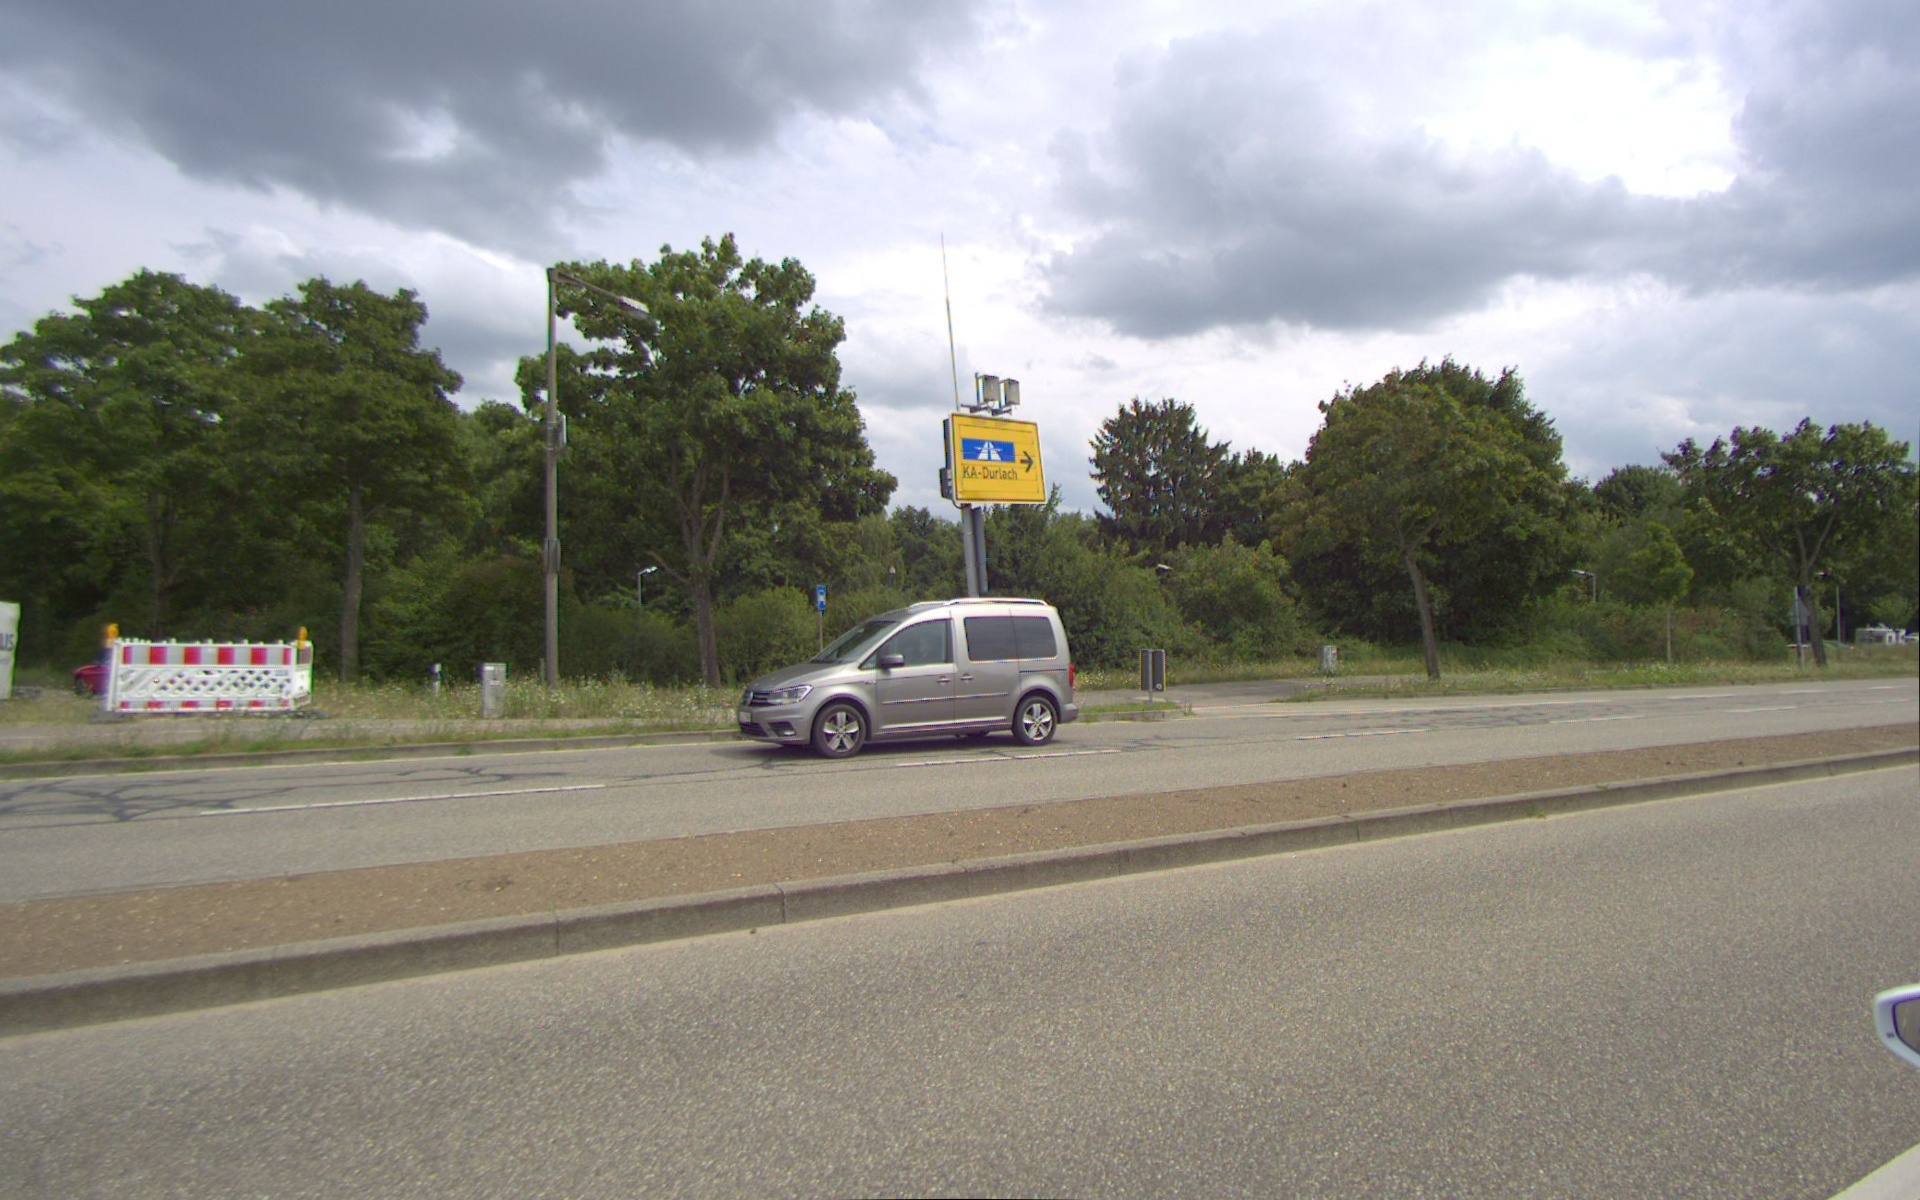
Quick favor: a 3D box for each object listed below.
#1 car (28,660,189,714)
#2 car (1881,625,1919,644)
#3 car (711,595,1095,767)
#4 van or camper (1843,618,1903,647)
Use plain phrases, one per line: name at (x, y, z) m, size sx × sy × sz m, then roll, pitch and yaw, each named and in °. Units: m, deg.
car at (-23.598, 2.387, 27.884) m, size 3.413 × 1.342 × 1.717 m, roll -1°, pitch -1°, yaw 13°
car at (96.888, 3.510, 102.502) m, size 1.917 × 1.912 × 3.965 m, roll 0°, pitch -1°, yaw -32°
car at (-0.662, 0.870, 12.674) m, size 4.486 × 1.833 × 1.894 m, roll 0°, pitch -1°, yaw -30°
van or camper at (85.635, 3.002, 94.158) m, size 6.645 × 2.574 × 2.458 m, roll 0°, pitch -1°, yaw -32°
